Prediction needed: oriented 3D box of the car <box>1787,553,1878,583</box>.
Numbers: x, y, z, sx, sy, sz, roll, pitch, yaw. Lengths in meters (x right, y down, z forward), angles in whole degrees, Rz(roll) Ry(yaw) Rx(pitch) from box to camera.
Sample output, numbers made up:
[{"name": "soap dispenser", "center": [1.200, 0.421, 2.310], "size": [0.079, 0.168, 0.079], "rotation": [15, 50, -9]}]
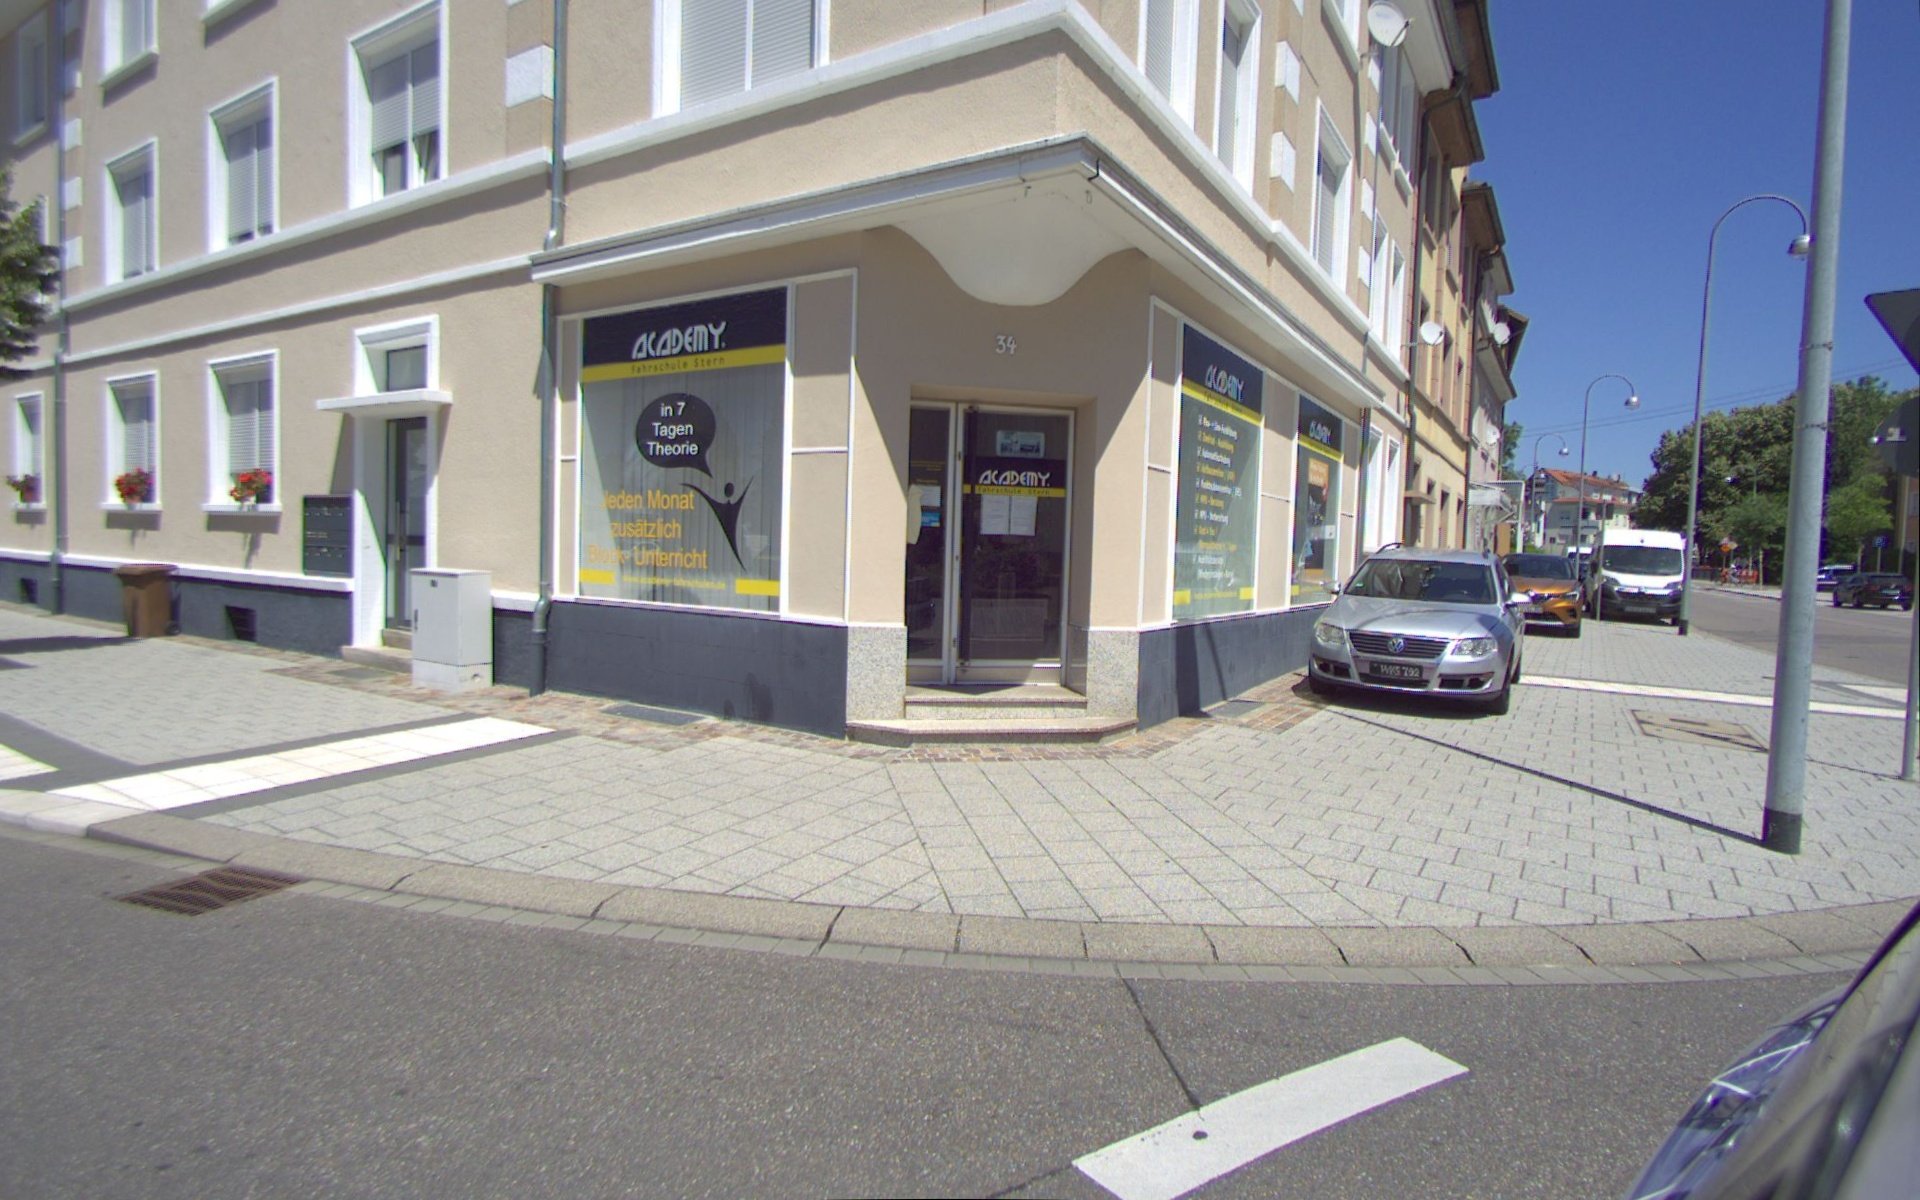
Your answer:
[{"name": "car", "center": [61.271, -2.270, 71.157], "size": [4.382, 1.896, 1.809], "rotation": [3, 3, 19]}]

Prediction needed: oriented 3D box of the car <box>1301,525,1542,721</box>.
[{"name": "car", "center": [5.089, 0.063, 10.774], "size": [1.756, 1.548, 4.640], "rotation": [5, 5, 31]}]

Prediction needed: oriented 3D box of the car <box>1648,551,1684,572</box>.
[{"name": "car", "center": [53.704, -2.951, 77.047], "size": [1.649, 1.514, 3.726], "rotation": [3, 4, 27]}]

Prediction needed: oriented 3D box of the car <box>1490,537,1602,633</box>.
[{"name": "car", "center": [11.968, -0.367, 20.657], "size": [1.666, 1.638, 4.316], "rotation": [6, 5, 31]}]

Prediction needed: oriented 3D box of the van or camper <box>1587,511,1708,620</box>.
[{"name": "van or camper", "center": [18.821, -1.006, 27.985], "size": [2.154, 2.619, 5.707], "rotation": [5, 4, 30]}]

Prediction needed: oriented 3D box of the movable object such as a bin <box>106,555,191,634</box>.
[{"name": "movable object such as a bin", "center": [-10.462, -0.087, 13.061], "size": [0.573, 0.946, 0.652], "rotation": [3, 4, 23]}]

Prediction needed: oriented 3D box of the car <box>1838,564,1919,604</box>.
[{"name": "car", "center": [37.763, -0.705, 41.309], "size": [1.845, 1.525, 4.521], "rotation": [1, 2, 27]}]
